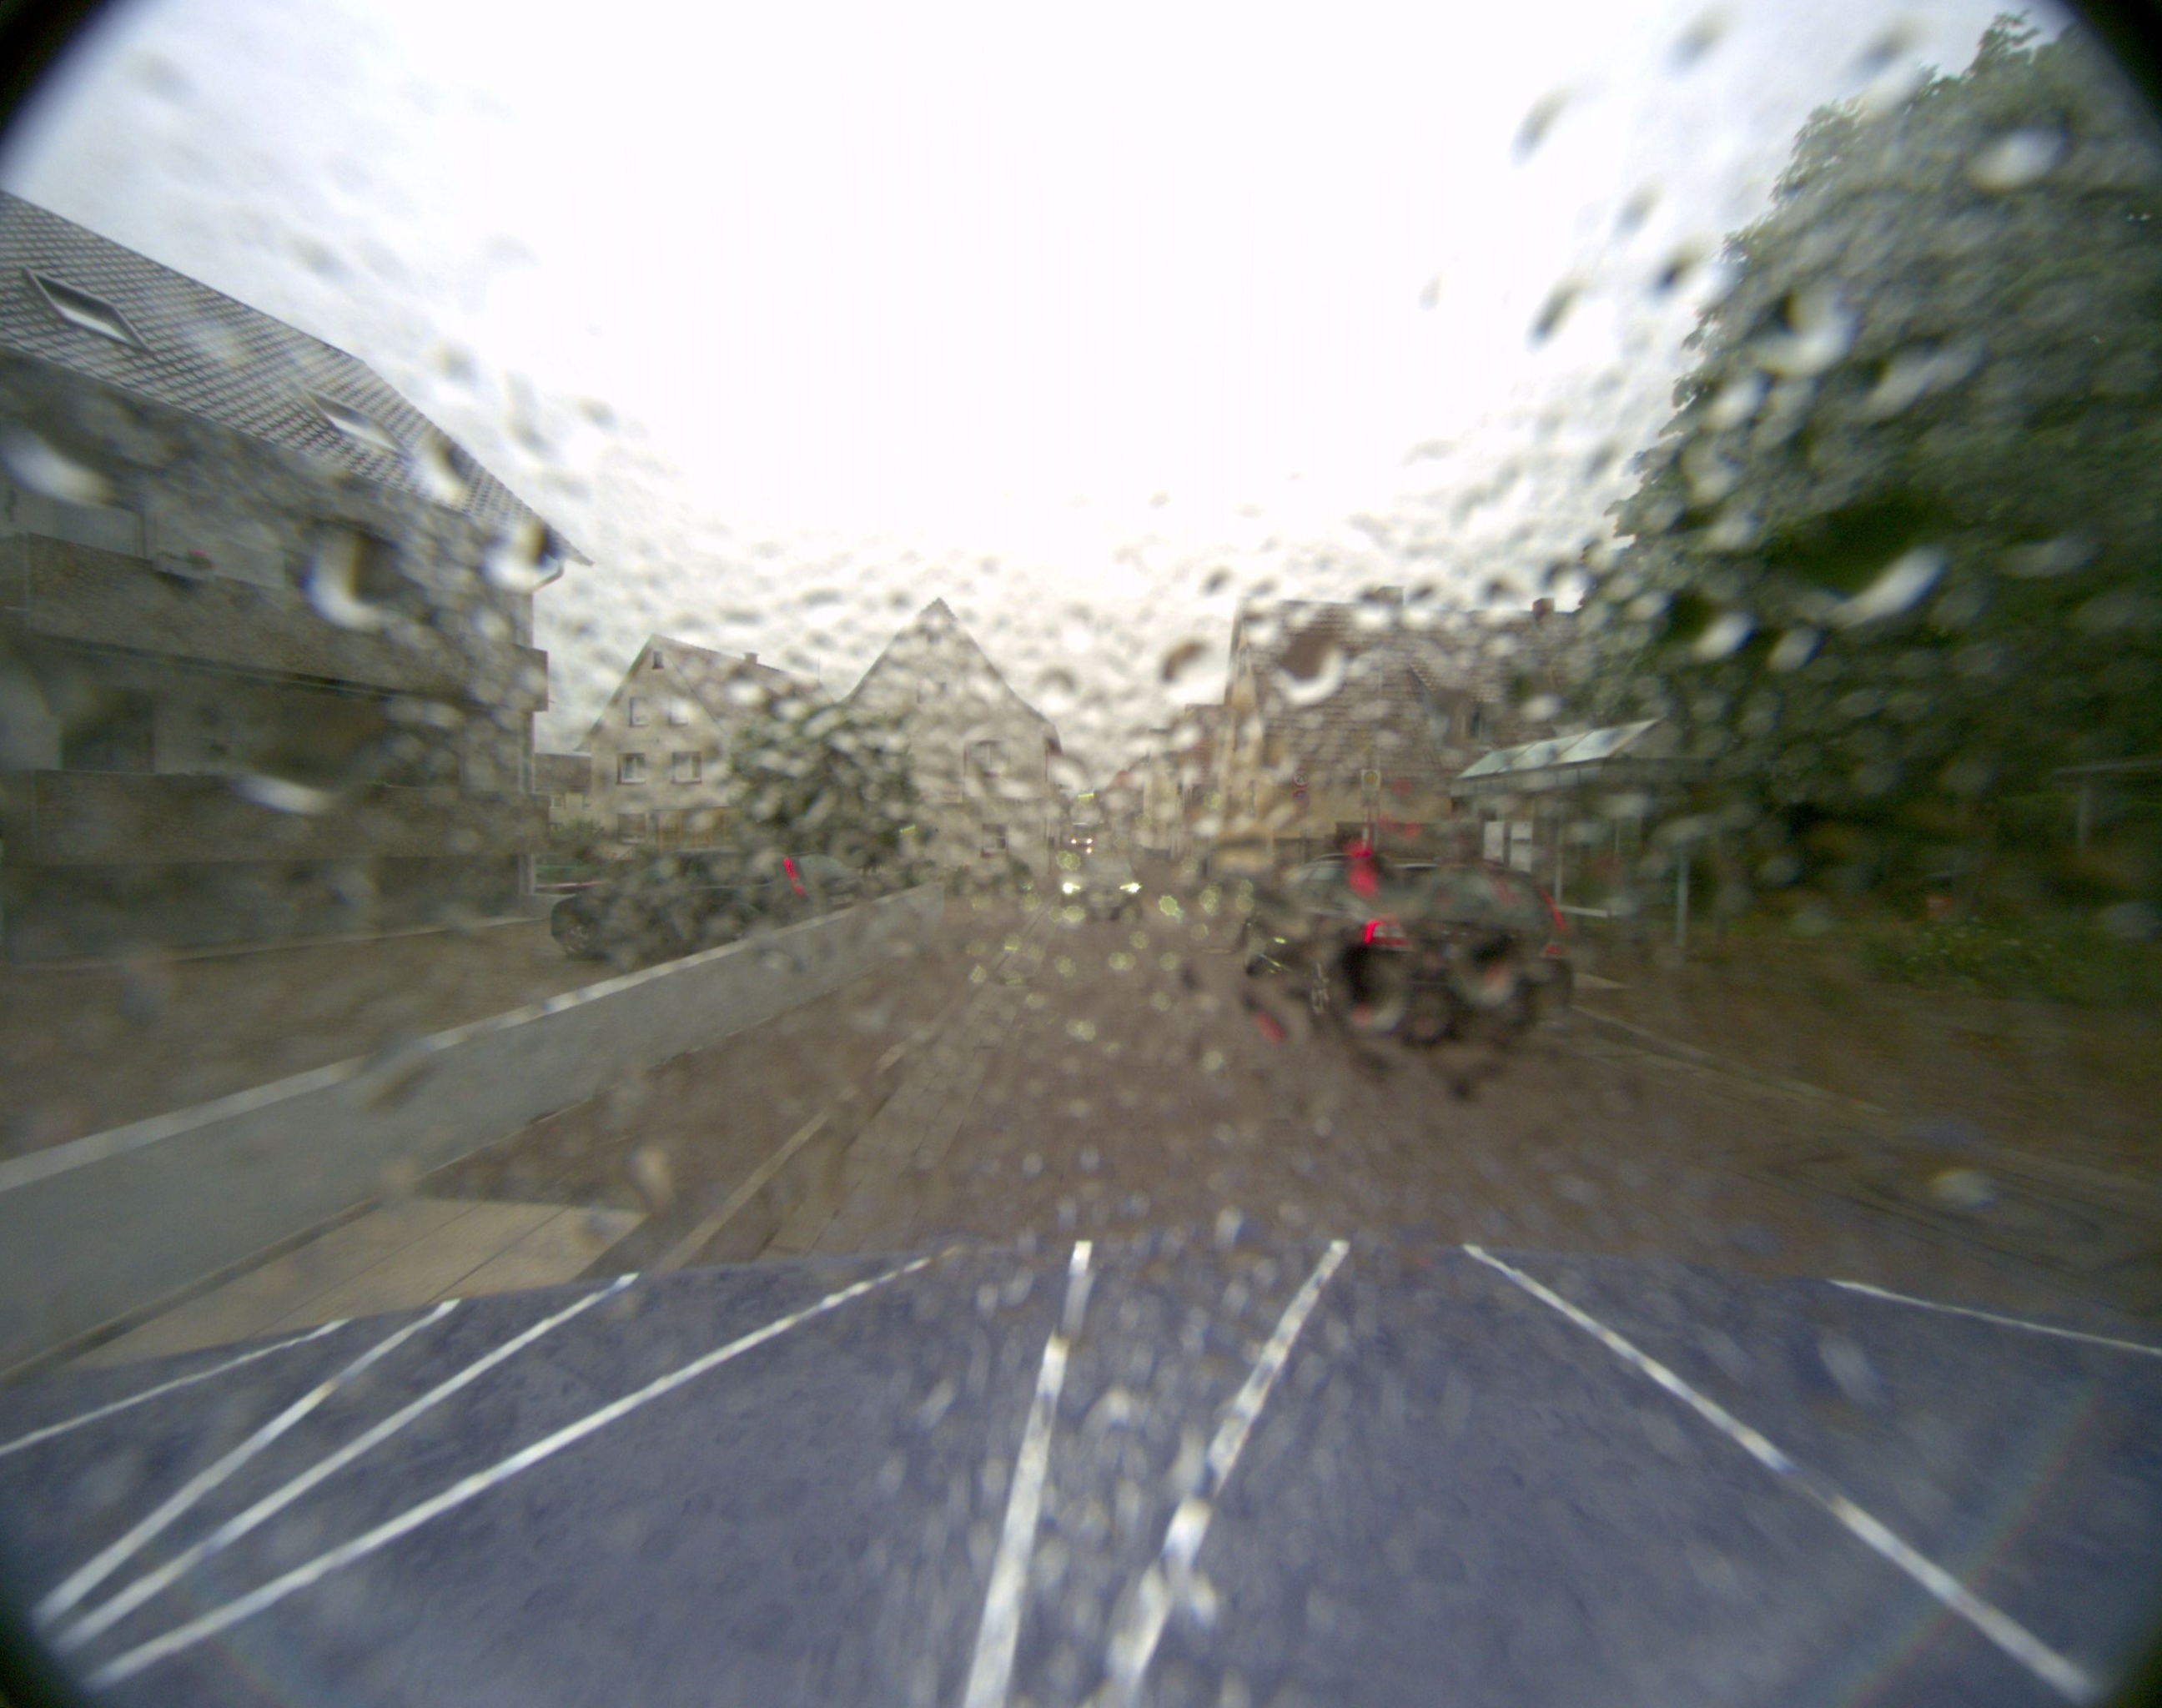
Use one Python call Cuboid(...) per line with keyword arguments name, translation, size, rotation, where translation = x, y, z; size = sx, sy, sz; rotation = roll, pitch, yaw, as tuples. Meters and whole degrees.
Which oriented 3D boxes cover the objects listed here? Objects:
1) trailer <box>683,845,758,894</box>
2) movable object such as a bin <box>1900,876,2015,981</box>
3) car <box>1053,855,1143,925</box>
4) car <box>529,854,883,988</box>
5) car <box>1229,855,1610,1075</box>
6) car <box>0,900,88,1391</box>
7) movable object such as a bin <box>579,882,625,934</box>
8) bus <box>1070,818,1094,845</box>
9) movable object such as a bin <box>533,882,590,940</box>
Cuboid(name="trailer", translation=(-13.634, 0.547, 28.884), size=(1.572, 1.732, 2.610), rotation=(-1, 1, 0))
Cuboid(name="movable object such as a bin", translation=(10.316, 0.861, 8.960), size=(0.563, 1.140, 0.604), rotation=(1, 4, -1))
Cuboid(name="car", translation=(0.437, 0.731, 17.307), size=(1.800, 1.342, 3.738), rotation=(-1, 1, 3))
Cuboid(name="car", translation=(-4.990, 0.780, 10.222), size=(4.233, 1.472, 1.697), rotation=(1, 2, 17))
Cuboid(name="car", translation=(2.845, 0.803, 7.604), size=(1.848, 1.468, 4.313), rotation=(1, 1, 0))
Cuboid(name="car", translation=(-5.688, 0.959, 2.279), size=(4.073, 1.580, 1.859), rotation=(1, 2, 15))
Cuboid(name="movable object such as a bin", translation=(-10.225, 1.142, 16.227), size=(0.624, 1.060, 0.571), rotation=(0, 2, 28))
Cuboid(name="bus", translation=(-0.018, -3.384, 109.975), size=(2.893, 3.591, 11.970), rotation=(0, 3, -3))
Cuboid(name="movable object such as a bin", translation=(-10.679, 1.160, 15.638), size=(0.624, 1.112, 0.692), rotation=(0, 2, 24))
